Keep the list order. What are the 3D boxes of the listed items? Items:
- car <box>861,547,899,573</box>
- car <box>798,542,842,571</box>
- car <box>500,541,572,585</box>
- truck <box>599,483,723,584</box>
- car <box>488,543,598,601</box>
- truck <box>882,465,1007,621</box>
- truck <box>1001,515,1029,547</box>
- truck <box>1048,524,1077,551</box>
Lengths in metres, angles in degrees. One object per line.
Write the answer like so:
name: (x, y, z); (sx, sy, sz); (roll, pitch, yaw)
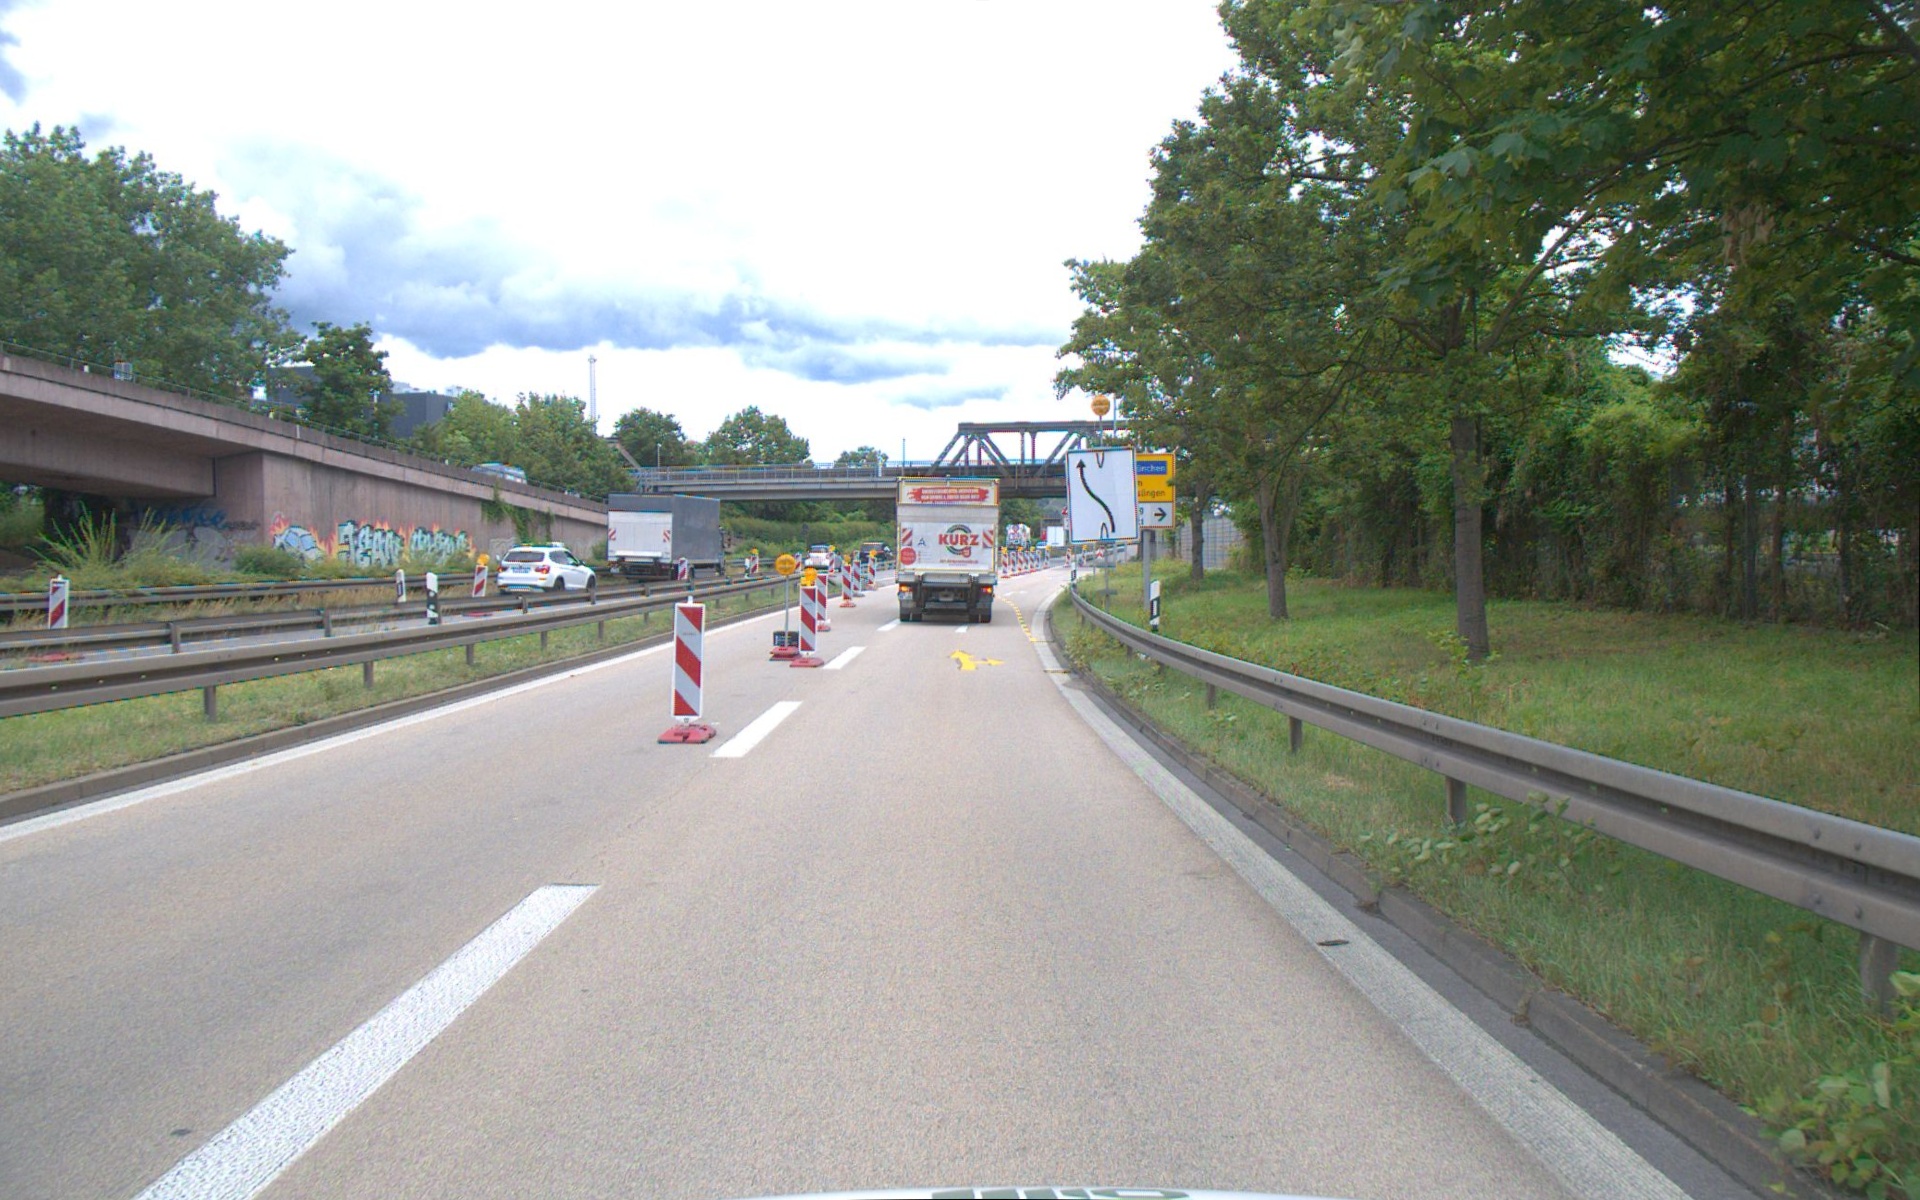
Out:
car: (-5.053, -2.522, 104.807); (1.952, 1.646, 4.003); (0, 1, 4)
car: (-8.060, -2.515, 95.500); (1.952, 1.646, 4.003); (0, 1, 4)
car: (-20.470, -1.783, 80.077); (1.951, 2.048, 4.712); (0, 1, 4)
truck: (-11.578, -2.538, 64.826); (2.986, 3.719, 7.400); (0, 1, 5)
car: (-13.073, -0.906, 52.093); (1.951, 1.742, 4.105); (0, 1, 8)
truck: (-0.267, -1.463, 43.695); (2.987, 3.737, 7.930); (0, 1, 2)
truck: (6.989, -8.721, 209.433); (3.217, 3.919, 7.669); (0, 1, 4)
truck: (13.978, -8.533, 225.525); (3.826, 3.610, 8.144); (0, 1, 2)
